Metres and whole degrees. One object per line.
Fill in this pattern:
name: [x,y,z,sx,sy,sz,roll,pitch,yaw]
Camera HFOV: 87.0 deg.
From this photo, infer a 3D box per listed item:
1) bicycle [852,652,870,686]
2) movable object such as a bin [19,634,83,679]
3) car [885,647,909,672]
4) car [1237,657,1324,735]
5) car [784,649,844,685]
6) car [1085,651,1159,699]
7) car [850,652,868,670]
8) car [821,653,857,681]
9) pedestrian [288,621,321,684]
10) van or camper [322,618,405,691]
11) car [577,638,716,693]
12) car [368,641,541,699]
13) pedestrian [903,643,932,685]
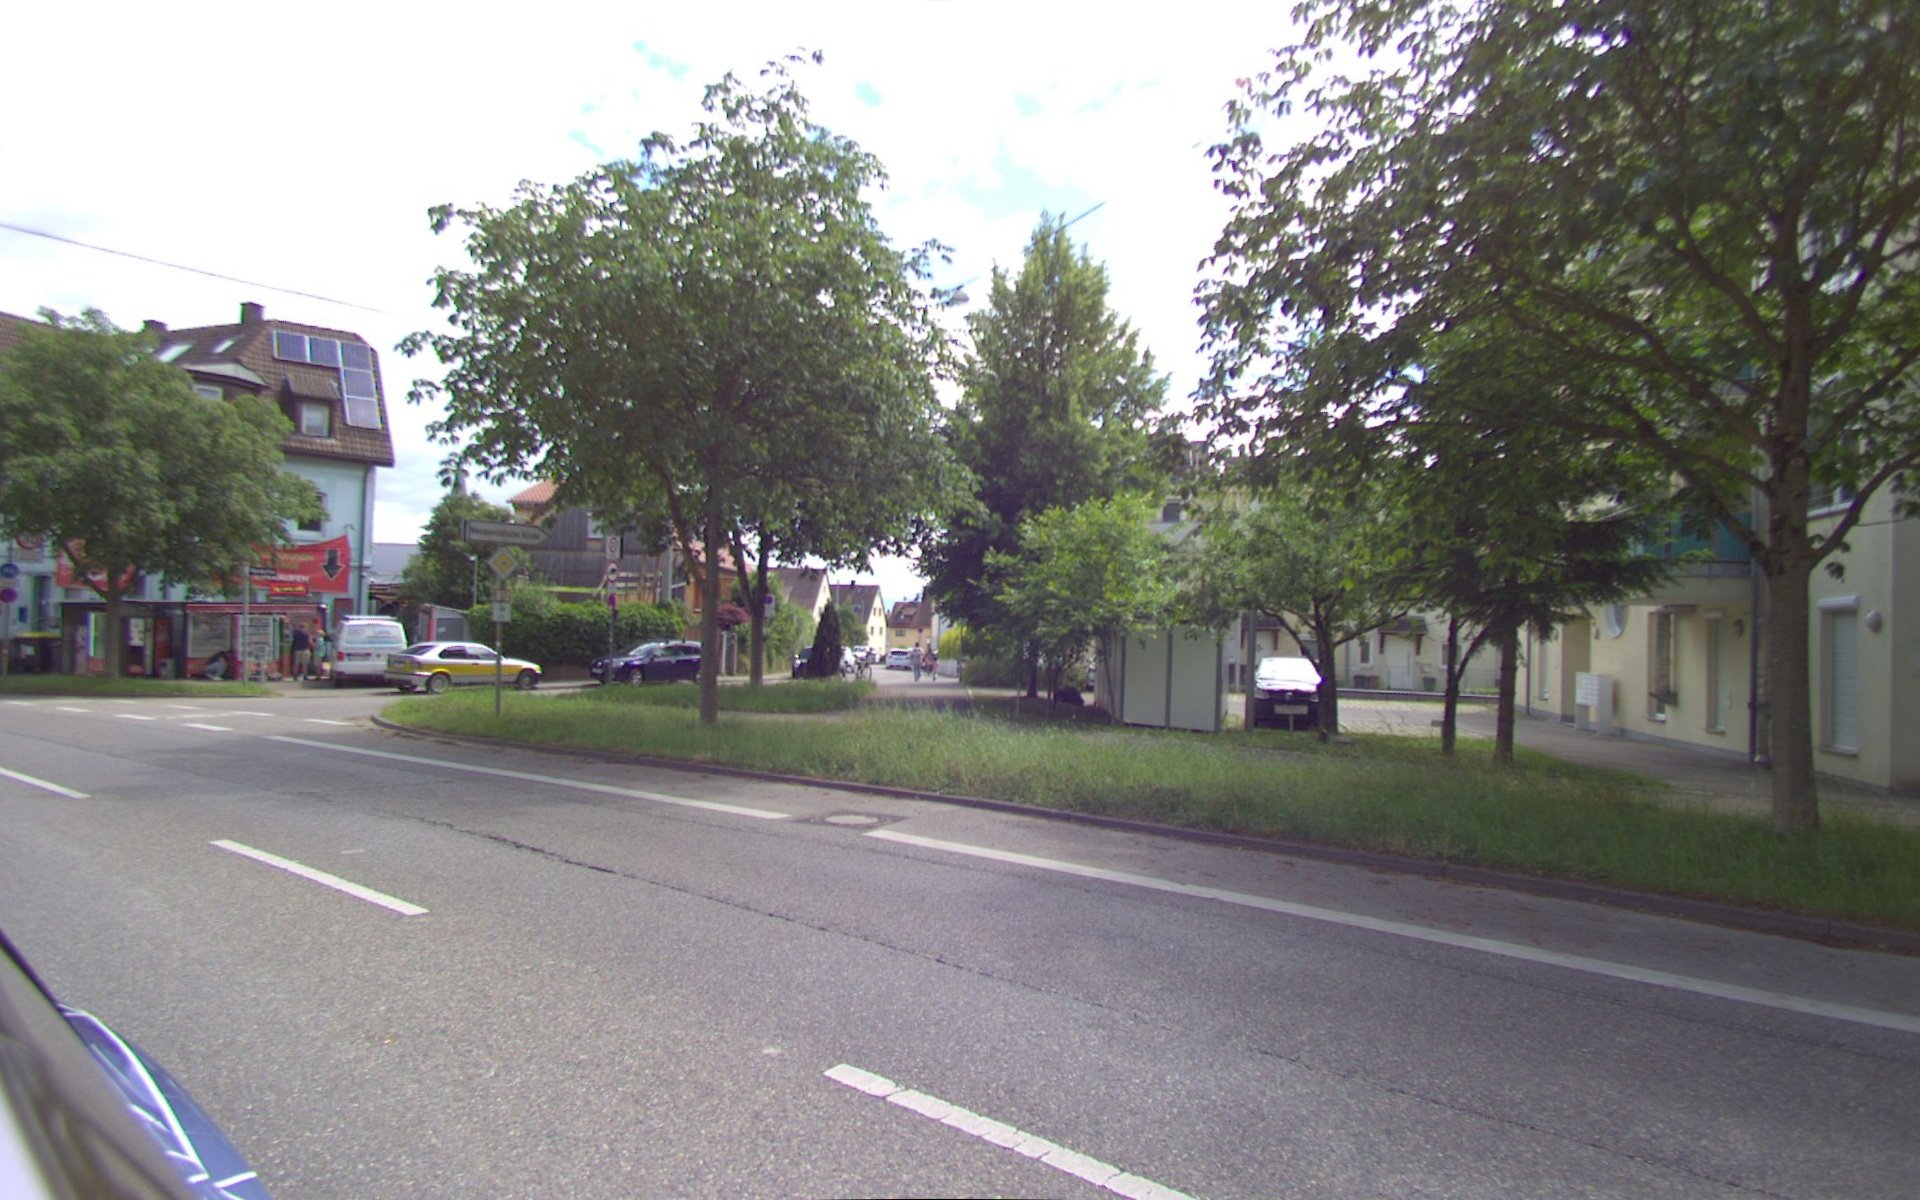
bicycle: [-2.890,2.013,29.641,0.457,0.866,2.227,1,-1,-4]
movable object such as a bin: [-29.057,1.802,32.344,1.237,1.365,1.017,1,-1,18]
car: [-4.508,4.299,72.984,1.571,1.570,3.630,2,-1,-2]
car: [6.817,1.952,21.351,1.423,1.461,3.370,1,-3,23]
car: [-6.223,2.844,43.461,1.575,1.332,3.770,2,-1,7]
car: [5.357,2.450,33.151,1.820,1.408,3.388,1,-4,19]
car: [-10.300,6.234,103.688,1.571,1.570,3.630,2,-1,-2]
car: [-6.733,3.720,56.556,1.571,1.332,3.778,2,-1,-1]
pedestrian: [-20.182,1.612,31.168,0.558,1.910,0.624,1,-1,8]
van or camper: [-18.051,1.573,30.521,1.761,2.009,4.390,3,-2,-35]
car: [-10.028,2.071,32.600,1.812,1.560,3.952,2,-1,36]
car: [-14.075,1.905,28.414,1.809,1.424,3.987,1,-2,31]
pedestrian: [-1.670,2.504,39.600,0.811,1.607,0.727,-6,-5,33]
